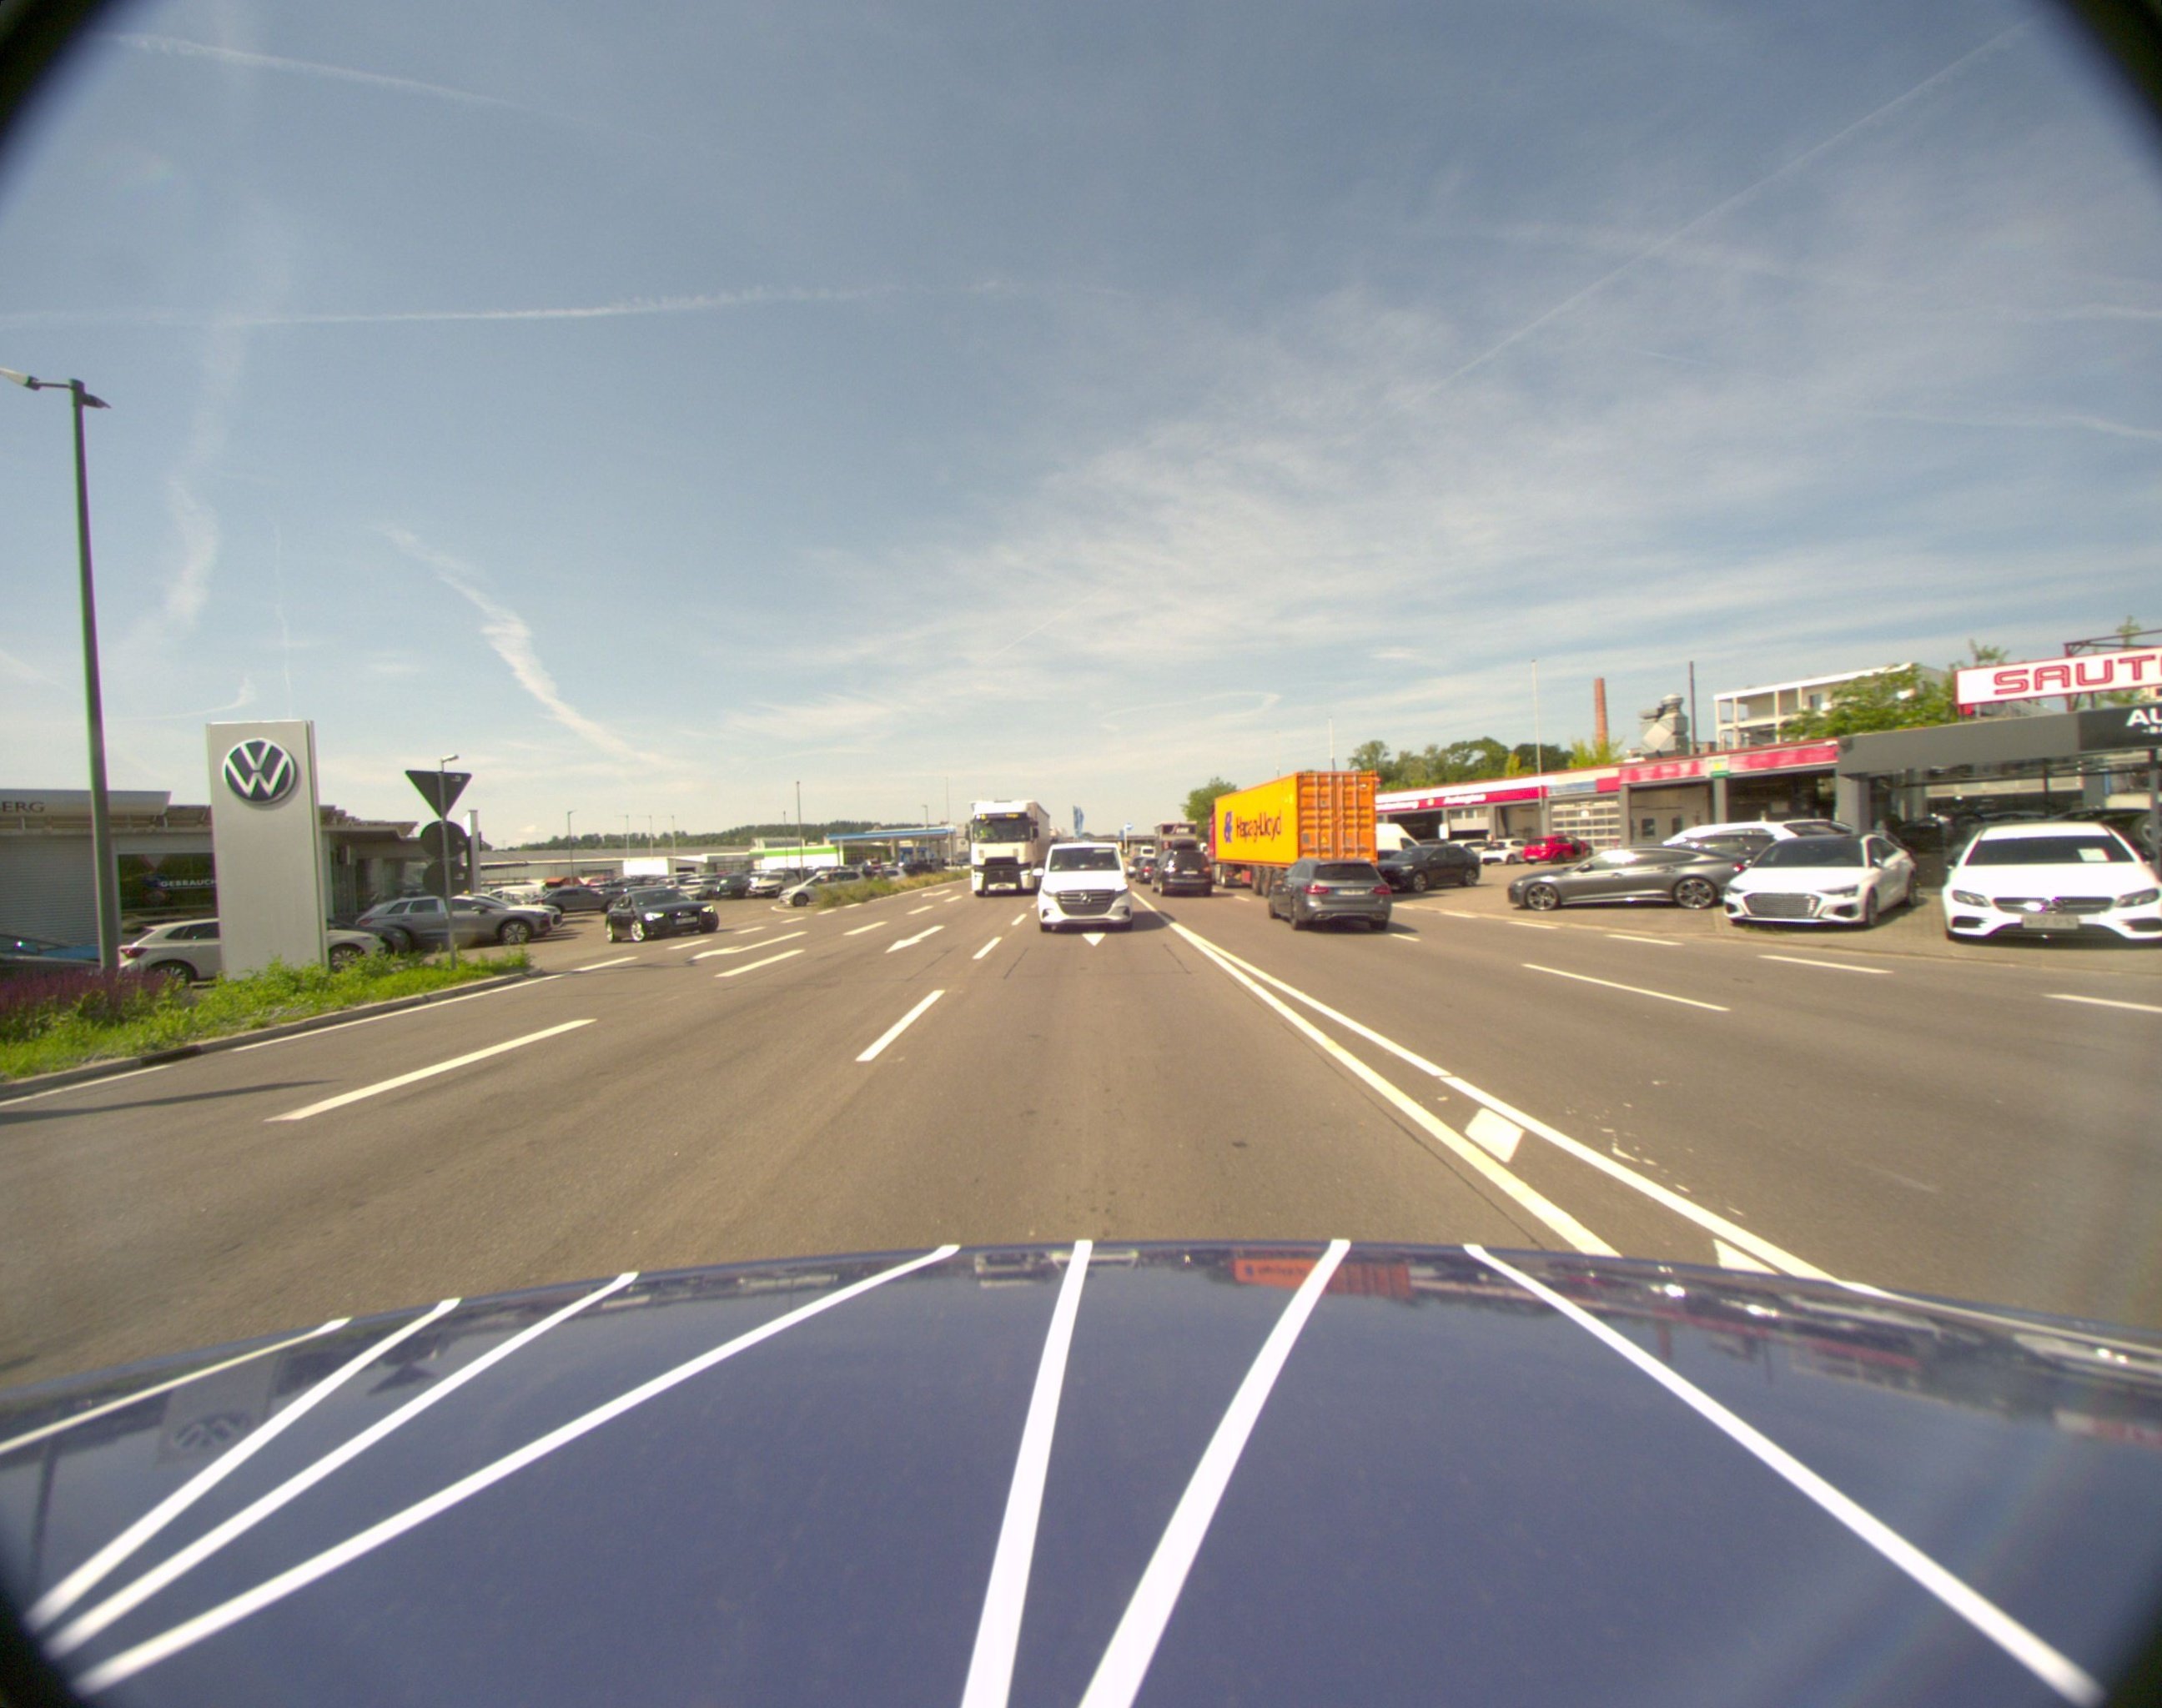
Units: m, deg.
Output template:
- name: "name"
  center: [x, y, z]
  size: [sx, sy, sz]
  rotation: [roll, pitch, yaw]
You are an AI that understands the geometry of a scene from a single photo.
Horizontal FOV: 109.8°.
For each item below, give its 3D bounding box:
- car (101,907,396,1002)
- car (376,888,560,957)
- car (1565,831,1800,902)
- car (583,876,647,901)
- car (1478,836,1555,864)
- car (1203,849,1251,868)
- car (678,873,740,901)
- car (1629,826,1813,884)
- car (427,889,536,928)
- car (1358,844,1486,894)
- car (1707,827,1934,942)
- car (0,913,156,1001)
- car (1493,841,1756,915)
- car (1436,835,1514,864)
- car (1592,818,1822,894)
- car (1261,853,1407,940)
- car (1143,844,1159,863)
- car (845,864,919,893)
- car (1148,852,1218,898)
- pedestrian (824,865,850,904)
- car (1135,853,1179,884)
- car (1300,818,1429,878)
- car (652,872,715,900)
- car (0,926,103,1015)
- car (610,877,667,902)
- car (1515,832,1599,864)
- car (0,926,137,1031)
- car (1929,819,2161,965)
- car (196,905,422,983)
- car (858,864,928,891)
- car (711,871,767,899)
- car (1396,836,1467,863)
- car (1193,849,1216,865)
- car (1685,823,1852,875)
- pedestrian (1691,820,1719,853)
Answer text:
- name: "car"
  center: [-18.558, 2.130, 17.153]
  size: [1.744, 1.483, 4.272]
  rotation: [-1, 1, 36]
- name: "car"
  center: [-18.233, 1.984, 22.877]
  size: [4.031, 1.661, 1.772]
  rotation: [-2, 1, -30]
- name: "car"
  center: [14.654, 0.344, 18.677]
  size: [4.333, 1.478, 1.802]
  rotation: [-4, 0, 43]
- name: "car"
  center: [-36.200, 2.643, 59.172]
  size: [1.774, 1.645, 4.539]
  rotation: [-2, 0, 5]
- name: "car"
  center: [25.648, -0.227, 44.750]
  size: [3.948, 1.511, 1.880]
  rotation: [-2, 0, -22]
- name: "car"
  center: [12.789, 0.373, 66.863]
  size: [3.798, 1.542, 1.941]
  rotation: [-2, 1, -1]
- name: "car"
  center: [-26.385, 2.308, 54.041]
  size: [1.774, 1.645, 4.539]
  rotation: [-2, 0, 6]
- name: "car"
  center: [19.773, 0.063, 23.612]
  size: [1.831, 1.515, 4.132]
  rotation: [-4, 0, -43]
- name: "car"
  center: [-30.945, 2.784, 39.303]
  size: [1.771, 1.645, 4.179]
  rotation: [-1, 1, 45]
- name: "car"
  center: [12.445, 0.518, 27.728]
  size: [4.189, 1.613, 2.026]
  rotation: [-2, 1, -27]
- name: "car"
  center: [13.466, 0.458, 13.765]
  size: [4.722, 1.467, 1.888]
  rotation: [-6, 2, -33]
- name: "car"
  center: [-22.093, 2.158, 15.484]
  size: [1.771, 1.509, 3.968]
  rotation: [-1, 1, 36]
- name: "car"
  center: [12.388, 0.572, 17.525]
  size: [4.629, 1.428, 1.978]
  rotation: [-4, 0, 44]
- name: "car"
  center: [24.565, -0.267, 47.398]
  size: [4.002, 1.597, 1.986]
  rotation: [-2, 0, -15]
- name: "car"
  center: [16.565, 0.104, 20.277]
  size: [1.896, 1.738, 4.458]
  rotation: [-4, 0, -43]
- name: "car"
  center: [5.212, 0.800, 16.332]
  size: [1.925, 1.593, 4.590]
  rotation: [-1, 0, 5]
- name: "car"
  center: [9.900, -0.149, 107.133]
  size: [2.063, 2.495, 7.117]
  rotation: [-2, 0, 6]
- name: "car"
  center: [-12.053, 1.457, 46.010]
  size: [4.005, 1.549, 1.709]
  rotation: [-2, 1, -27]
- name: "car"
  center: [3.768, 0.743, 28.893]
  size: [1.913, 1.593, 4.588]
  rotation: [0, 0, -2]
- name: "pedestrian"
  center: [-12.342, 1.534, 38.424]
  size: [0.990, 1.900, 0.742]
  rotation: [-2, 1, -34]
- name: "car"
  center: [3.939, 0.731, 40.023]
  size: [1.866, 1.515, 4.588]
  rotation: [-1, 0, 0]
- name: "car"
  center: [14.349, -0.274, 38.719]
  size: [5.722, 2.822, 2.117]
  rotation: [-2, 0, 2]
- name: "car"
  center: [-28.887, 2.296, 55.399]
  size: [1.821, 1.719, 4.540]
  rotation: [-2, 0, 6]
- name: "car"
  center: [-20.879, 2.242, 13.534]
  size: [1.791, 1.442, 4.163]
  rotation: [-1, 1, 36]
- name: "car"
  center: [-33.842, 2.702, 58.258]
  size: [1.775, 1.645, 4.536]
  rotation: [-2, 0, -3]
- name: "car"
  center: [26.589, -0.319, 42.439]
  size: [4.004, 1.608, 1.914]
  rotation: [-2, 1, -22]
- name: "car"
  center: [-18.820, 2.169, 12.441]
  size: [1.771, 1.523, 4.098]
  rotation: [-1, 1, 36]
- name: "car"
  center: [14.148, 0.425, 11.202]
  size: [4.723, 1.504, 1.950]
  rotation: [-6, 2, -39]
- name: "car"
  center: [-19.562, 2.194, 19.406]
  size: [1.745, 1.467, 3.803]
  rotation: [-1, 1, 36]
- name: "car"
  center: [-12.081, 1.491, 48.918]
  size: [4.007, 1.543, 1.771]
  rotation: [-2, 1, -35]
- name: "car"
  center: [-23.444, 2.094, 52.273]
  size: [1.969, 1.645, 4.536]
  rotation: [-2, 0, -3]
- name: "car"
  center: [23.190, -0.282, 50.303]
  size: [4.002, 1.610, 1.873]
  rotation: [-2, 1, -17]
- name: "car"
  center: [12.469, 0.283, 76.778]
  size: [1.765, 1.406, 4.000]
  rotation: [-5, 0, 3]
- name: "car"
  center: [23.679, -0.141, 26.281]
  size: [1.814, 1.515, 4.088]
  rotation: [-4, 0, -43]
- name: "pedestrian"
  center: [34.001, -0.939, 41.420]
  size: [0.867, 1.717, 0.742]
  rotation: [-4, 1, -16]
